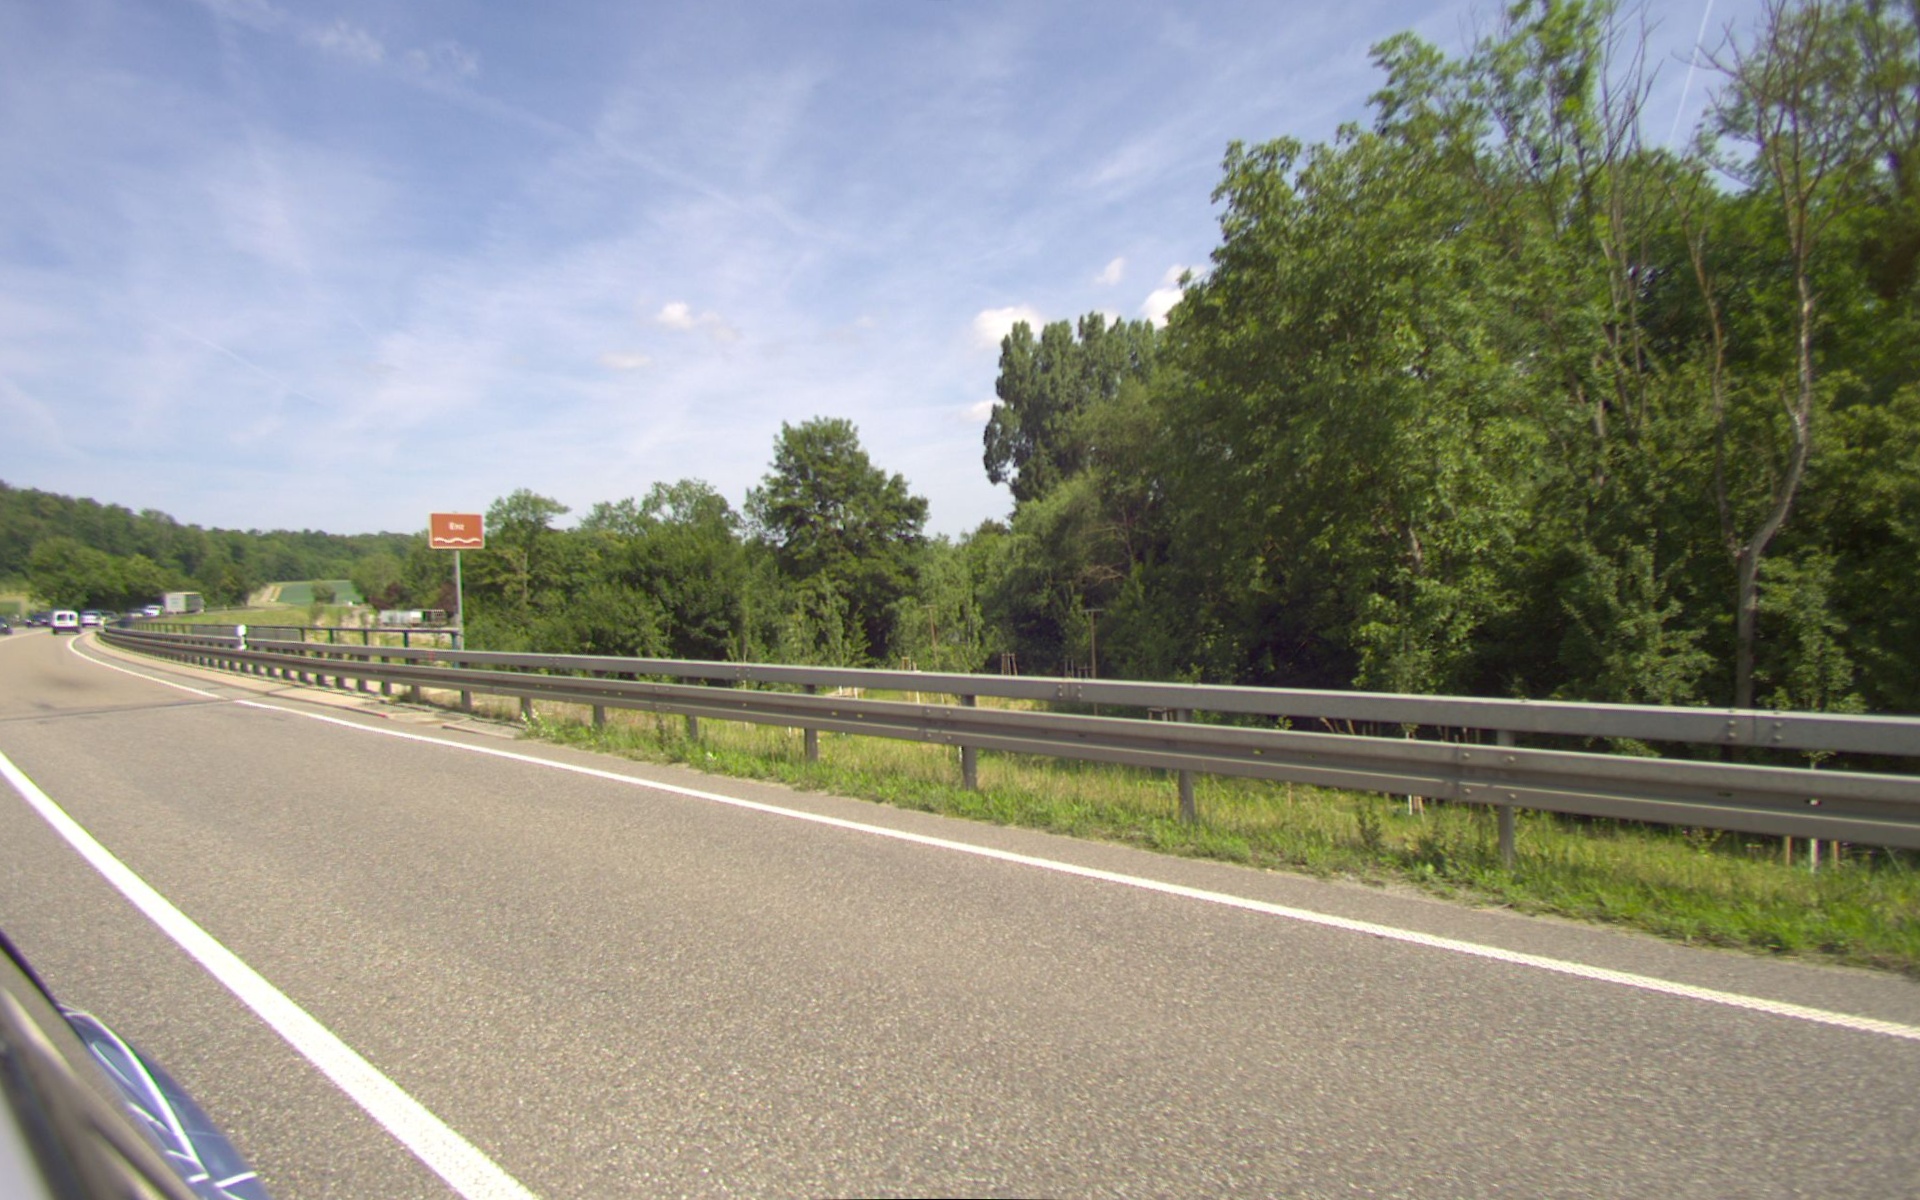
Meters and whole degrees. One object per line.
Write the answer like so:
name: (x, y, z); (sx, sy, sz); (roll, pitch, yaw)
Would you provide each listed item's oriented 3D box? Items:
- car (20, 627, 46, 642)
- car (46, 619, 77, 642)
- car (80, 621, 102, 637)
car: (-93.769, 3.503, 102.435); (1.716, 1.465, 4.043); (0, -1, -39)
car: (-70.350, 2.369, 79.285); (1.717, 1.788, 4.042); (0, -1, -41)
car: (-89.121, 2.985, 103.786); (1.717, 1.623, 3.813); (0, -1, -41)
